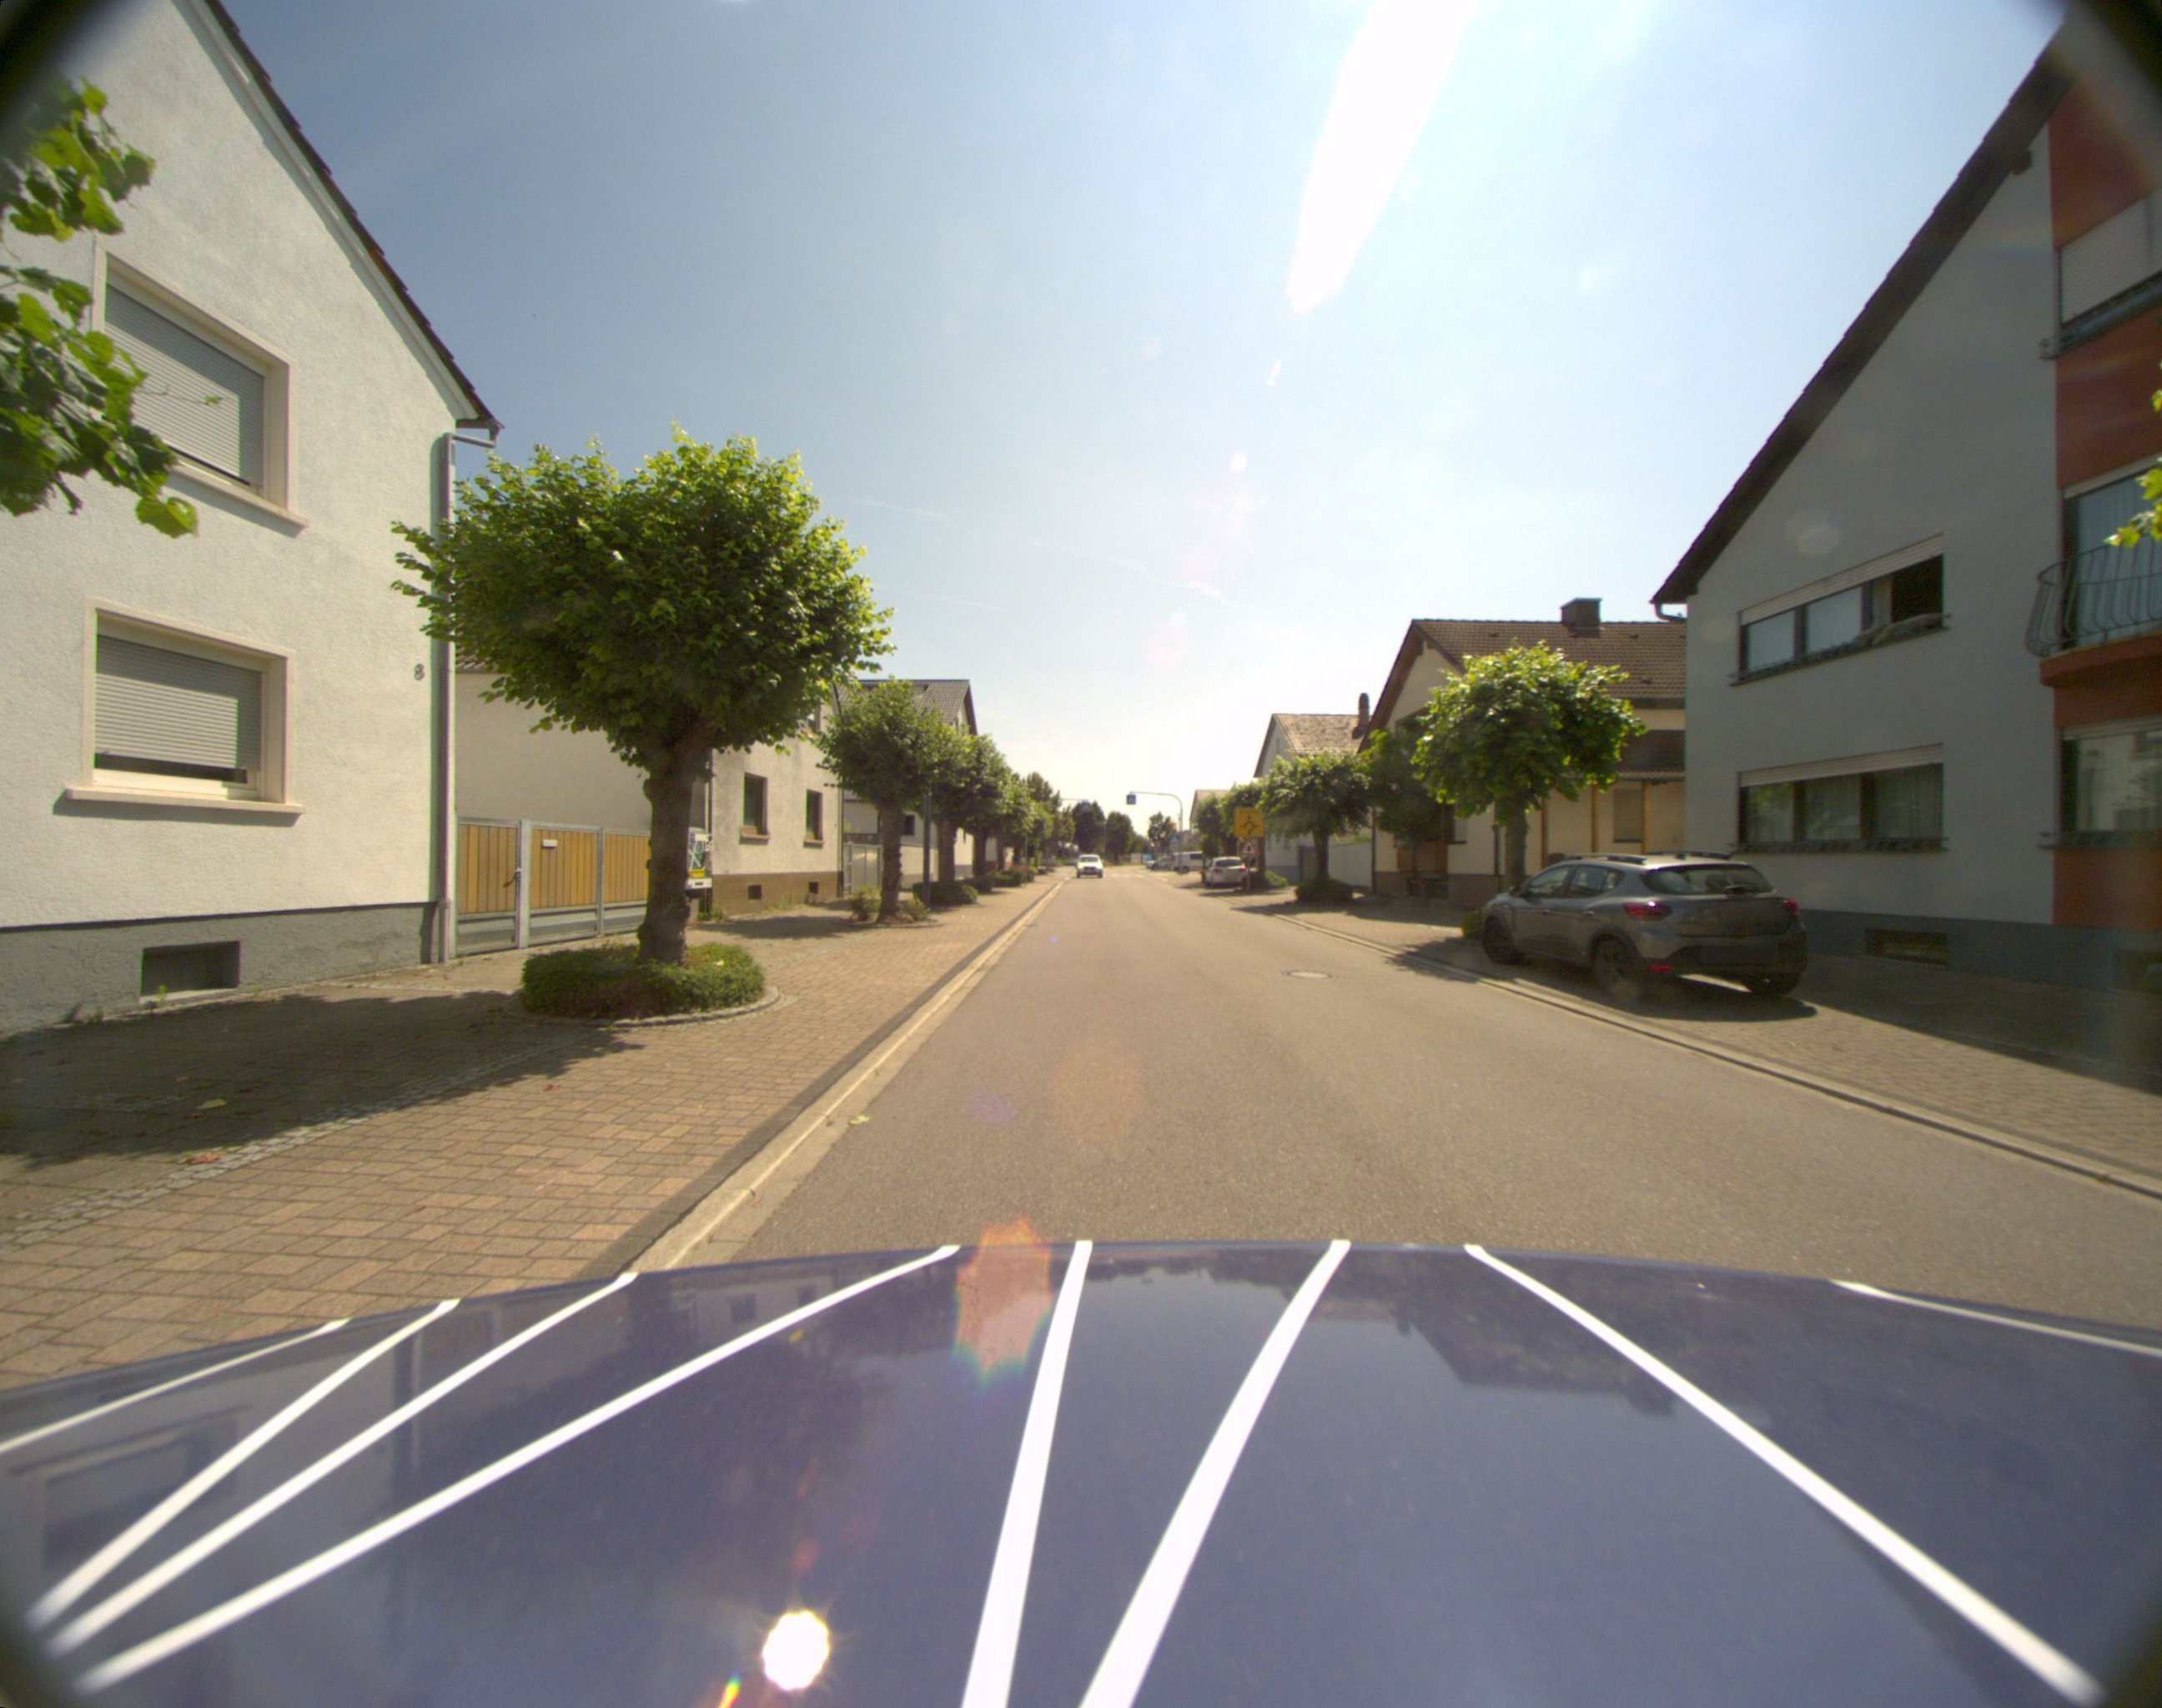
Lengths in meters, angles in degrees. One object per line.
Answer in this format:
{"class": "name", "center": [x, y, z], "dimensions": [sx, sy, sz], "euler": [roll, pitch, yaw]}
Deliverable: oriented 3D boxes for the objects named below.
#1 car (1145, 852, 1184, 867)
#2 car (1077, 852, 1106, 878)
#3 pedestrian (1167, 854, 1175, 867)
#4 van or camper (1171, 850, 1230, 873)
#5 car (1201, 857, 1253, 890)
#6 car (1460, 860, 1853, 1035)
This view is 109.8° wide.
{"class": "car", "center": [9.803, 0.634, 89.784], "dimensions": [4.251, 1.709, 1.945], "euler": [-2, 1, -5]}
{"class": "car", "center": [0.753, 0.727, 52.462], "dimensions": [1.857, 1.603, 4.135], "euler": [-2, 0, 3]}
{"class": "pedestrian", "center": [9.782, 0.680, 82.611], "dimensions": [0.787, 1.350, 0.607], "euler": [0, 0, 1]}
{"class": "van or camper", "center": [10.296, 0.667, 65.528], "dimensions": [4.752, 1.851, 2.000], "euler": [-2, 0, 0]}
{"class": "car", "center": [7.175, 0.925, 37.723], "dimensions": [1.829, 1.474, 4.132], "euler": [-2, 0, 1]}
{"class": "car", "center": [6.601, 0.927, 9.436], "dimensions": [1.857, 1.603, 4.135], "euler": [-2, 0, 3]}
